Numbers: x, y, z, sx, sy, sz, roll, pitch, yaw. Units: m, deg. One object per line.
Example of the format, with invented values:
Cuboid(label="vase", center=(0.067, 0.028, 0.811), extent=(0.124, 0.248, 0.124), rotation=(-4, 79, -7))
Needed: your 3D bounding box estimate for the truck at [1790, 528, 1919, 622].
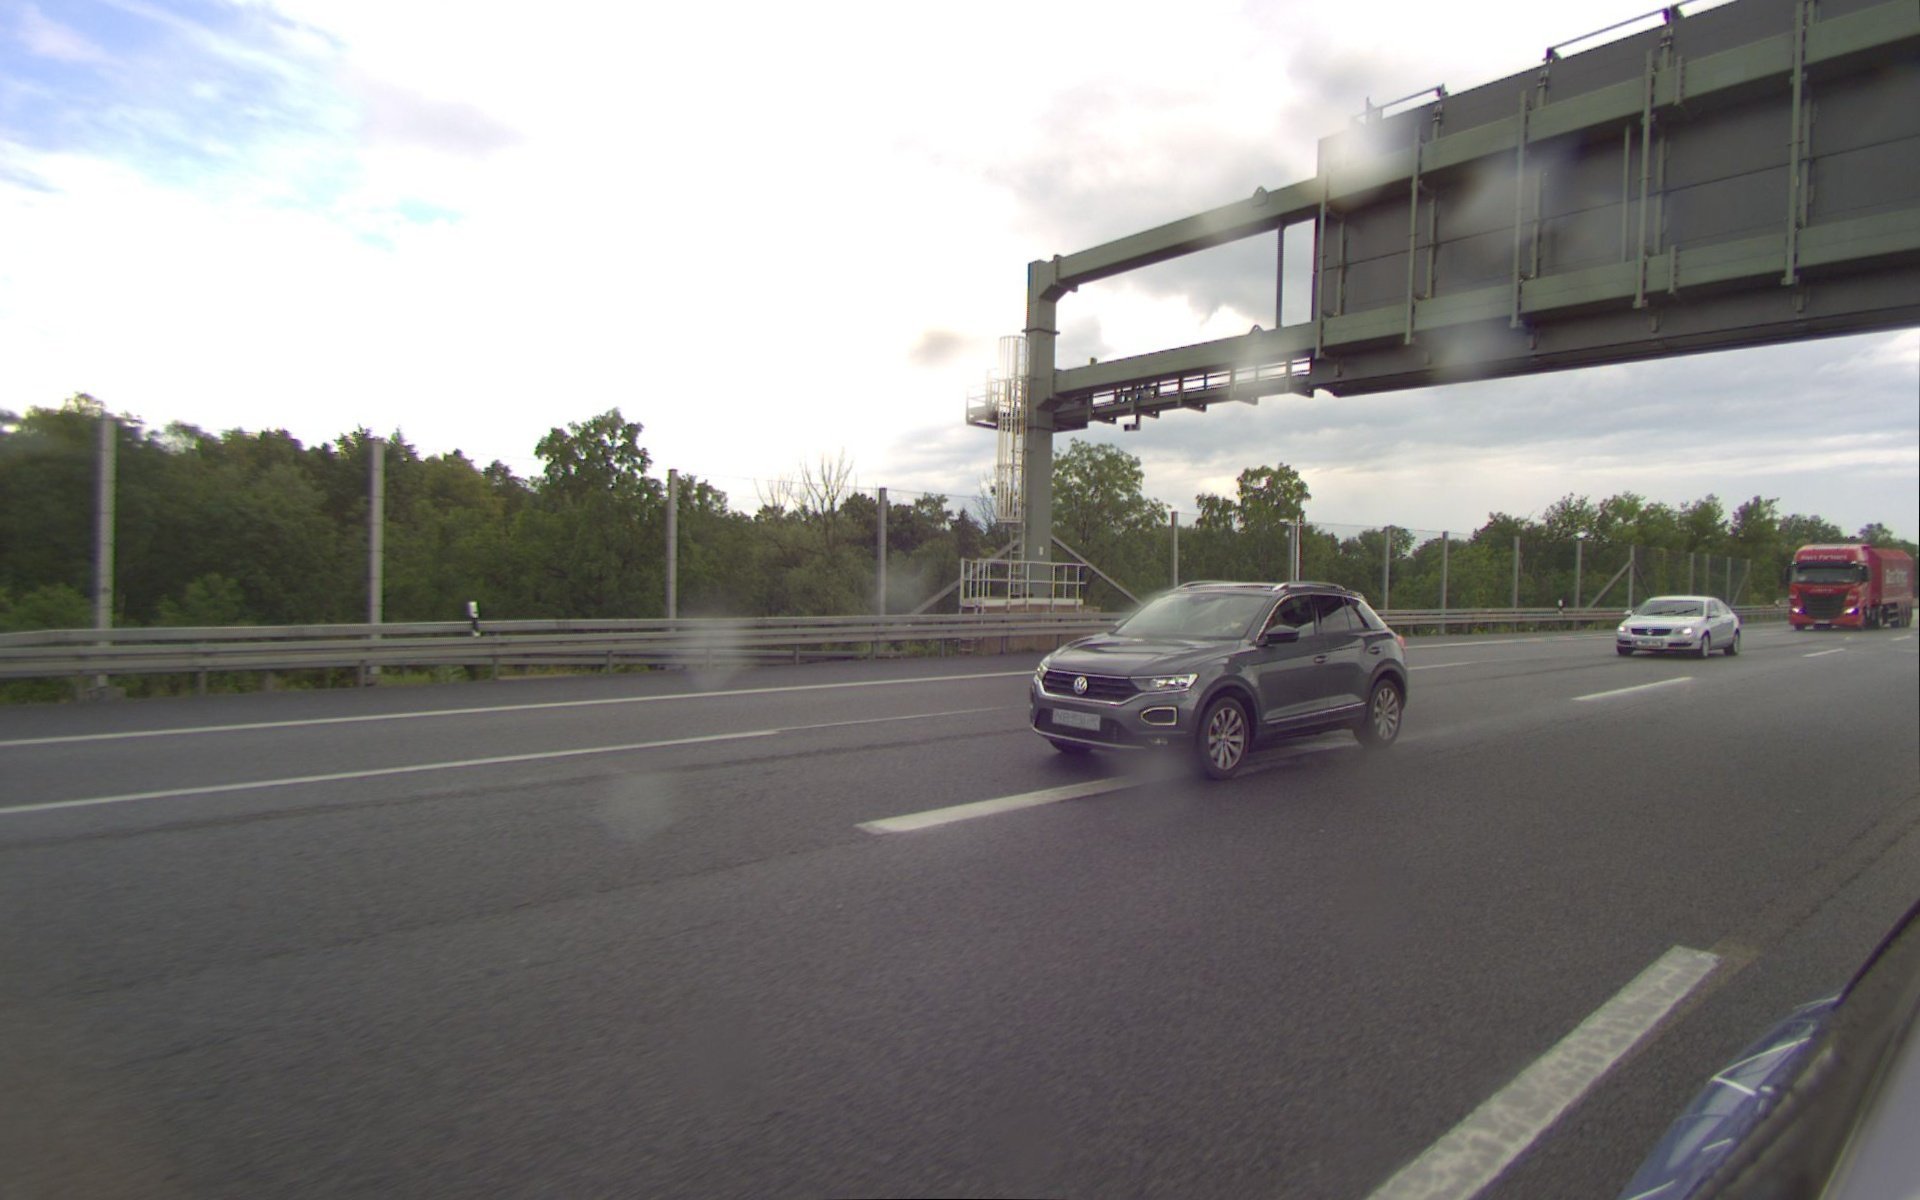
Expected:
Cuboid(label="truck", center=(44.447, -1.061, 49.702), extent=(15.362, 4.054, 3.158), rotation=(0, 0, -41))

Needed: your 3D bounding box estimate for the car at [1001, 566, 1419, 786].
Cuboid(label="car", center=(2.334, 0.532, 9.103), extent=(3.654, 1.582, 1.797), rotation=(0, 0, -38))

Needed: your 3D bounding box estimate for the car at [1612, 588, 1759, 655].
Cuboid(label="car", center=(17.698, 0.485, 24.624), extent=(4.169, 1.465, 1.897), rotation=(1, 0, -39))
